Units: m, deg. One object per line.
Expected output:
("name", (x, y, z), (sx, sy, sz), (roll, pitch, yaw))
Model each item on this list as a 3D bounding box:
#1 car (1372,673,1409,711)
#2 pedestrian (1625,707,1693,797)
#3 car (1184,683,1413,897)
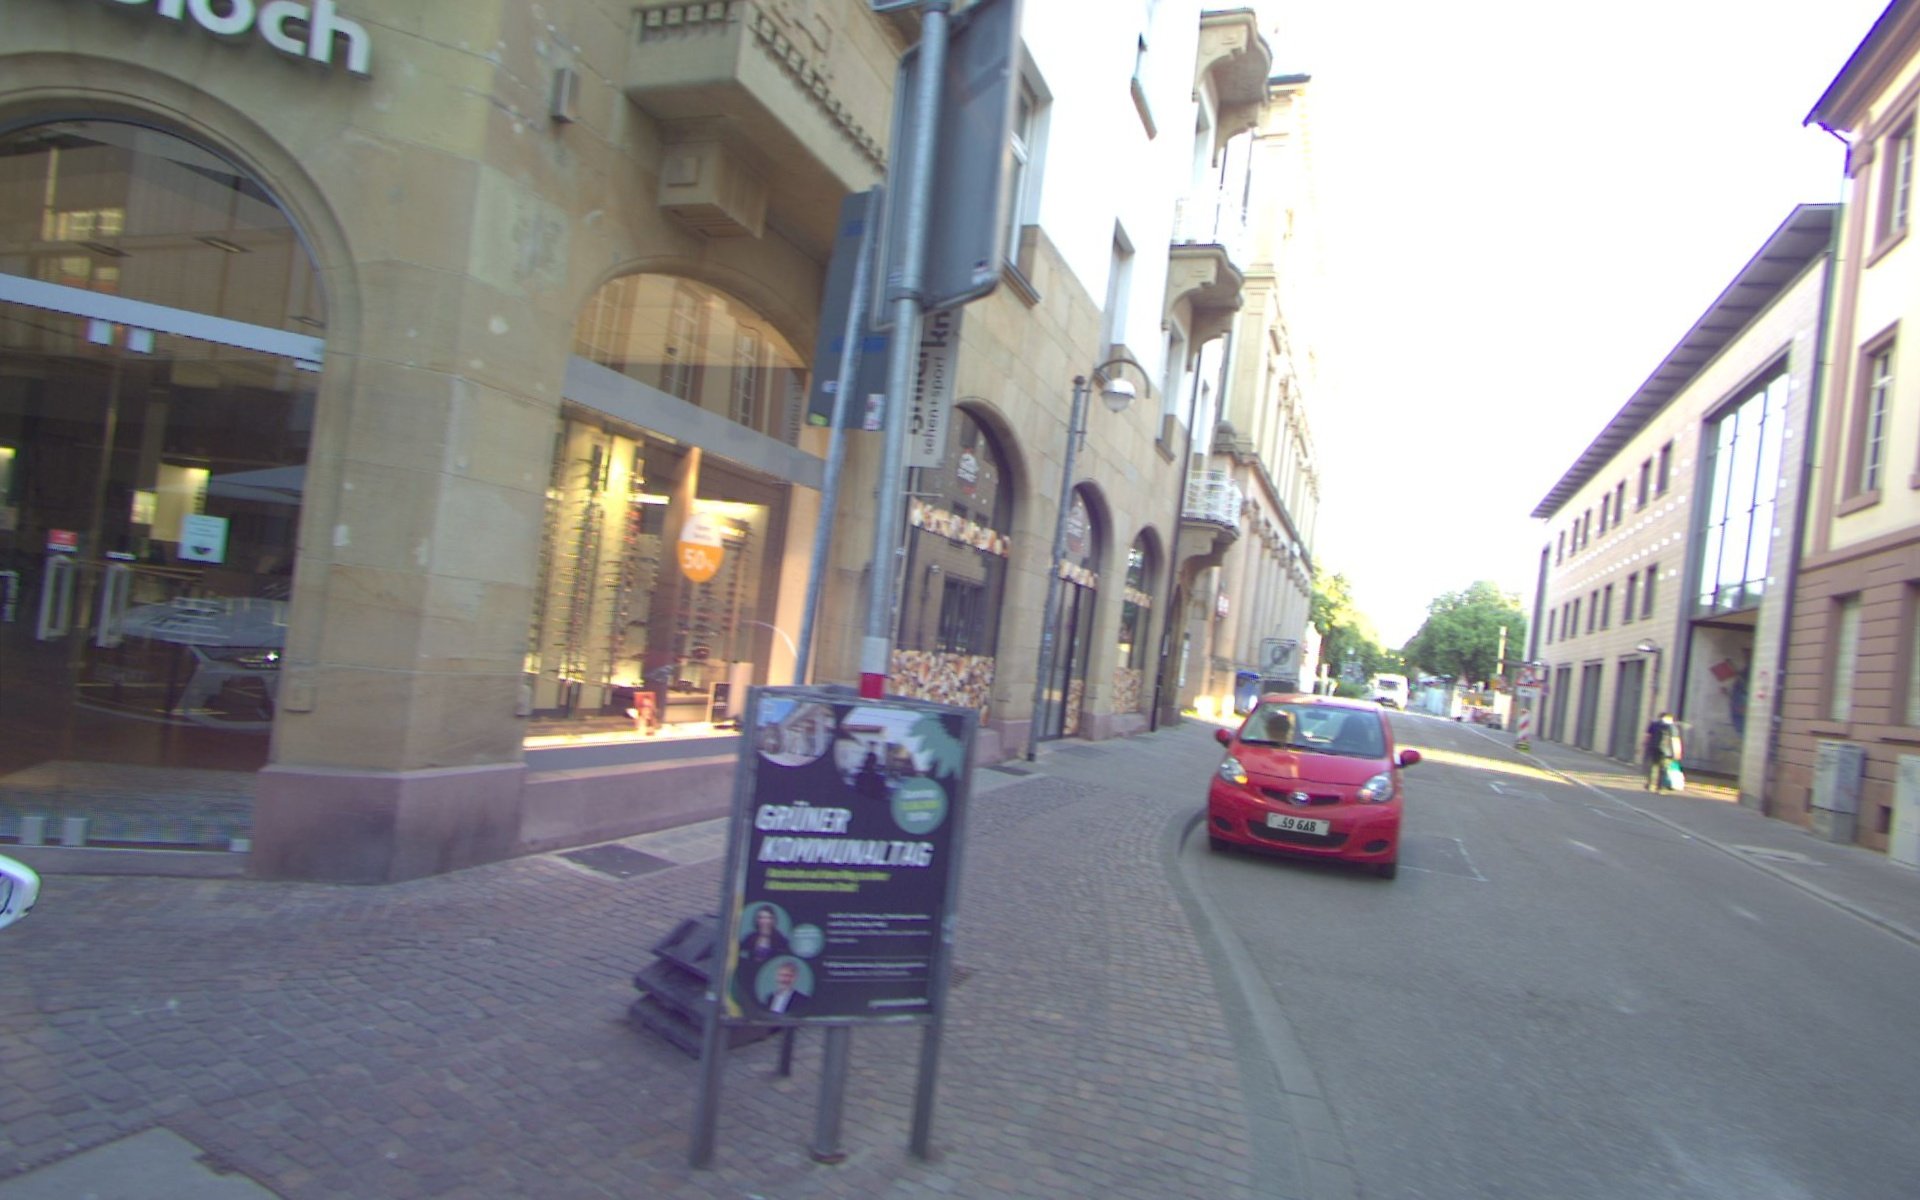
("car", (30.326, 6.478, 70.790), (1.906, 2.332, 3.998), (7, -1, 27))
("pedestrian", (15.469, 3.350, 22.300), (0.913, 1.800, 0.940), (7, 0, 25))
("car", (3.466, 1.644, 9.806), (1.621, 1.459, 4.000), (4, -3, 24))
